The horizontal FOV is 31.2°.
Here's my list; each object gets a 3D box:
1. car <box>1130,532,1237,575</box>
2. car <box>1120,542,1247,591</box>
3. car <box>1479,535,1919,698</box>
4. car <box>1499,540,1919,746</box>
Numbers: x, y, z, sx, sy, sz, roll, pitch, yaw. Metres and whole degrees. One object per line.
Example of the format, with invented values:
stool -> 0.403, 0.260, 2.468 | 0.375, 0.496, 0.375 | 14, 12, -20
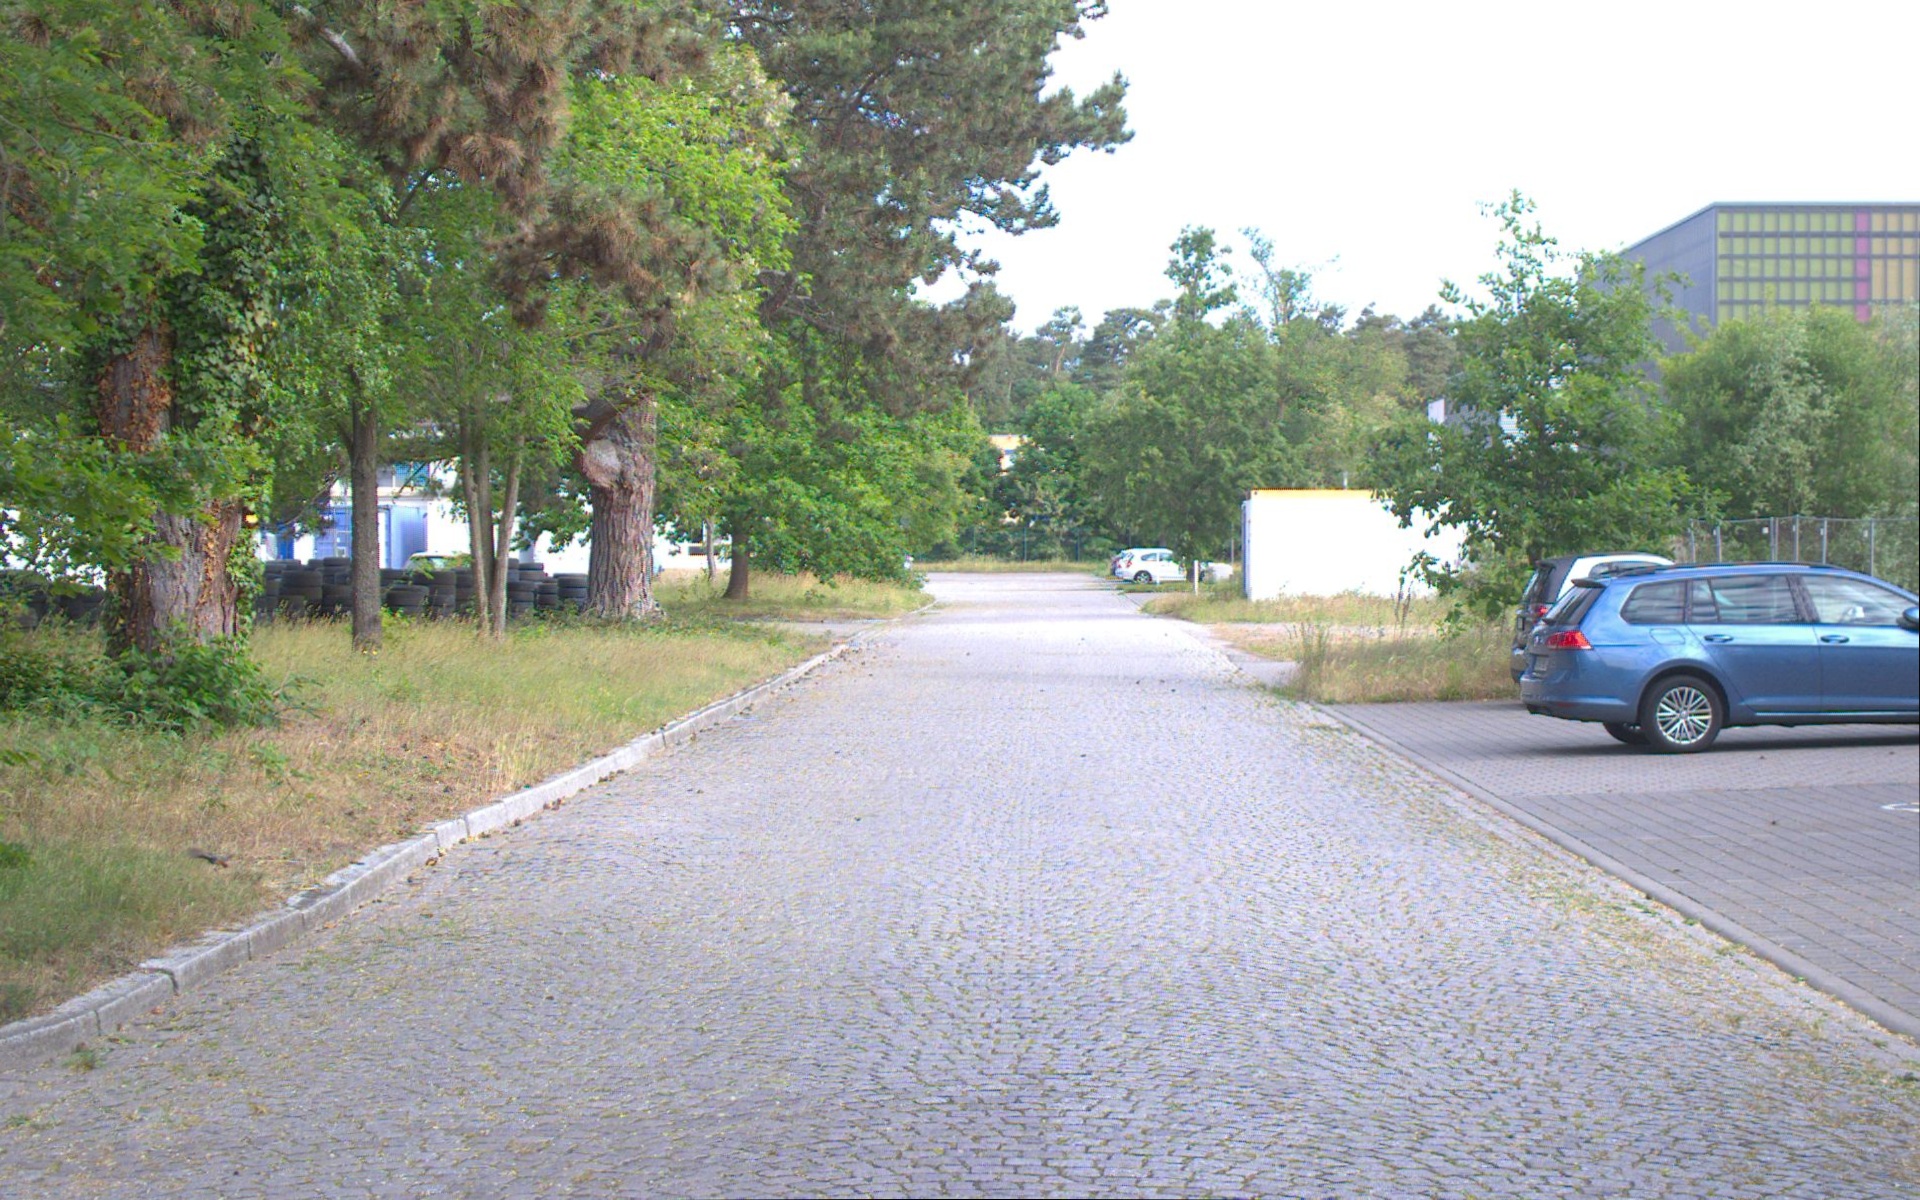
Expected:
car -> 9.242, -1.923, 142.420 | 4.355, 1.774, 1.925 | 0, 1, 3
car -> 7.884, -1.190, 121.464 | 4.354, 1.682, 1.925 | 0, 1, 1
car -> 7.720, 0.149, 35.233 | 4.518, 1.526, 2.000 | -1, 1, 2
car -> 6.826, 0.308, 27.900 | 4.517, 1.526, 2.000 | -1, 1, -2
